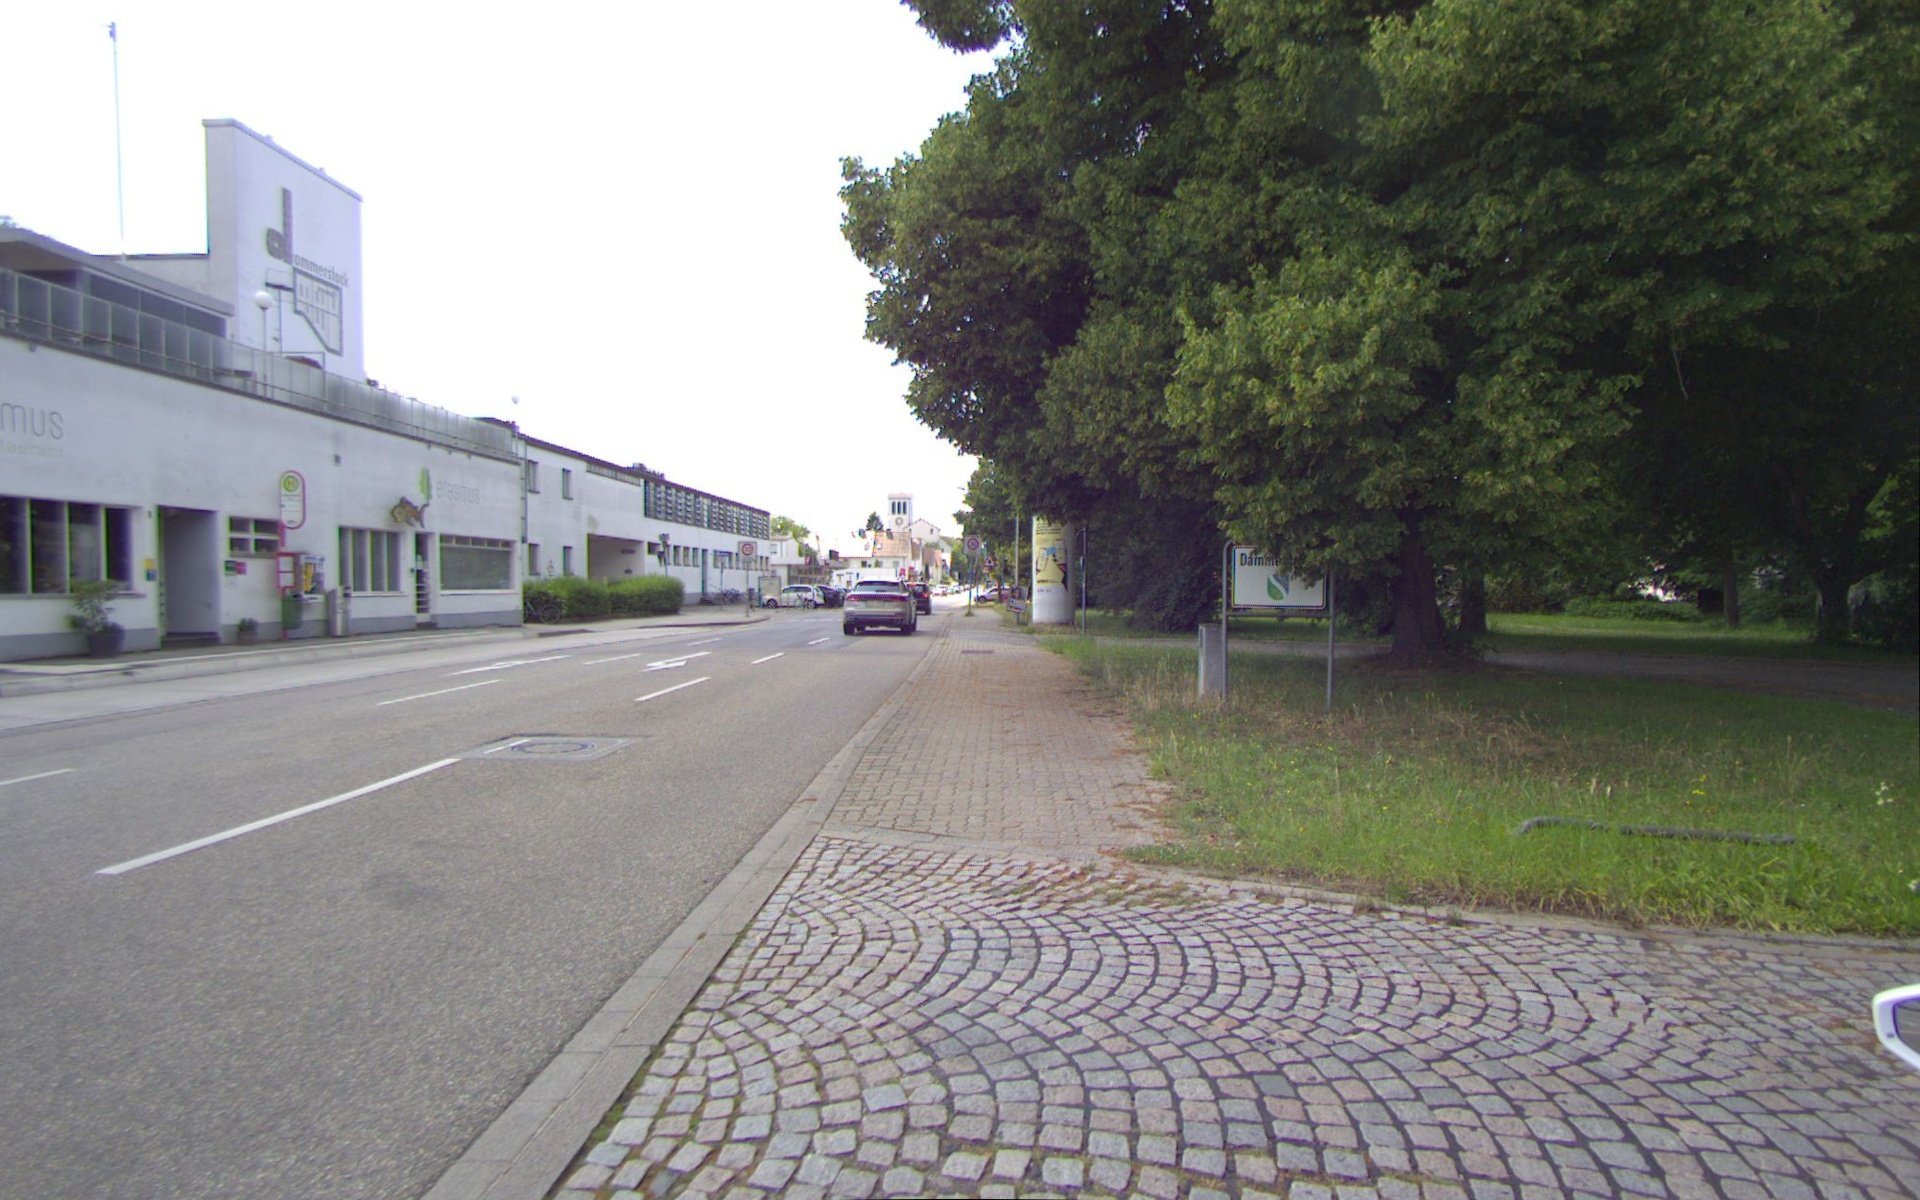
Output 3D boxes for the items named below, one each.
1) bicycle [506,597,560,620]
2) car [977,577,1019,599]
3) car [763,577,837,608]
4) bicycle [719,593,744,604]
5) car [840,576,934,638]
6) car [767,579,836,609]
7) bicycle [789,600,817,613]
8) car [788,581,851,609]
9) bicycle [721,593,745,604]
[{"bbox_3d":[-14.554,0.297,34.250,1.647,0.768,0.409,0,1,-16],"label":"bicycle"},{"bbox_3d":[3.697,-1.203,98.209,3.919,2.041,2.001,1,1,8],"label":"car"},{"bbox_3d":[-10.431,-0.472,65.793,4.557,2.040,1.999,0,0,-3],"label":"car"},{"bbox_3d":[-16.606,-0.138,73.001,1.652,0.768,0.567,1,1,-24],"label":"bicycle"},{"bbox_3d":[-2.128,0.147,30.663,1.947,1.706,4.576,1,2,7],"label":"car"},{"bbox_3d":[-10.961,-0.392,69.654,4.557,2.040,1.999,0,0,-3],"label":"car"},{"bbox_3d":[-9.601,0.398,61.594,1.643,0.768,0.570,1,1,-3],"label":"bicycle"},{"bbox_3d":[-10.499,-0.360,75.319,4.557,2.040,1.999,0,0,-3],"label":"car"},{"bbox_3d":[-16.336,-0.102,72.284,1.652,0.768,0.567,1,1,-24],"label":"bicycle"}]
